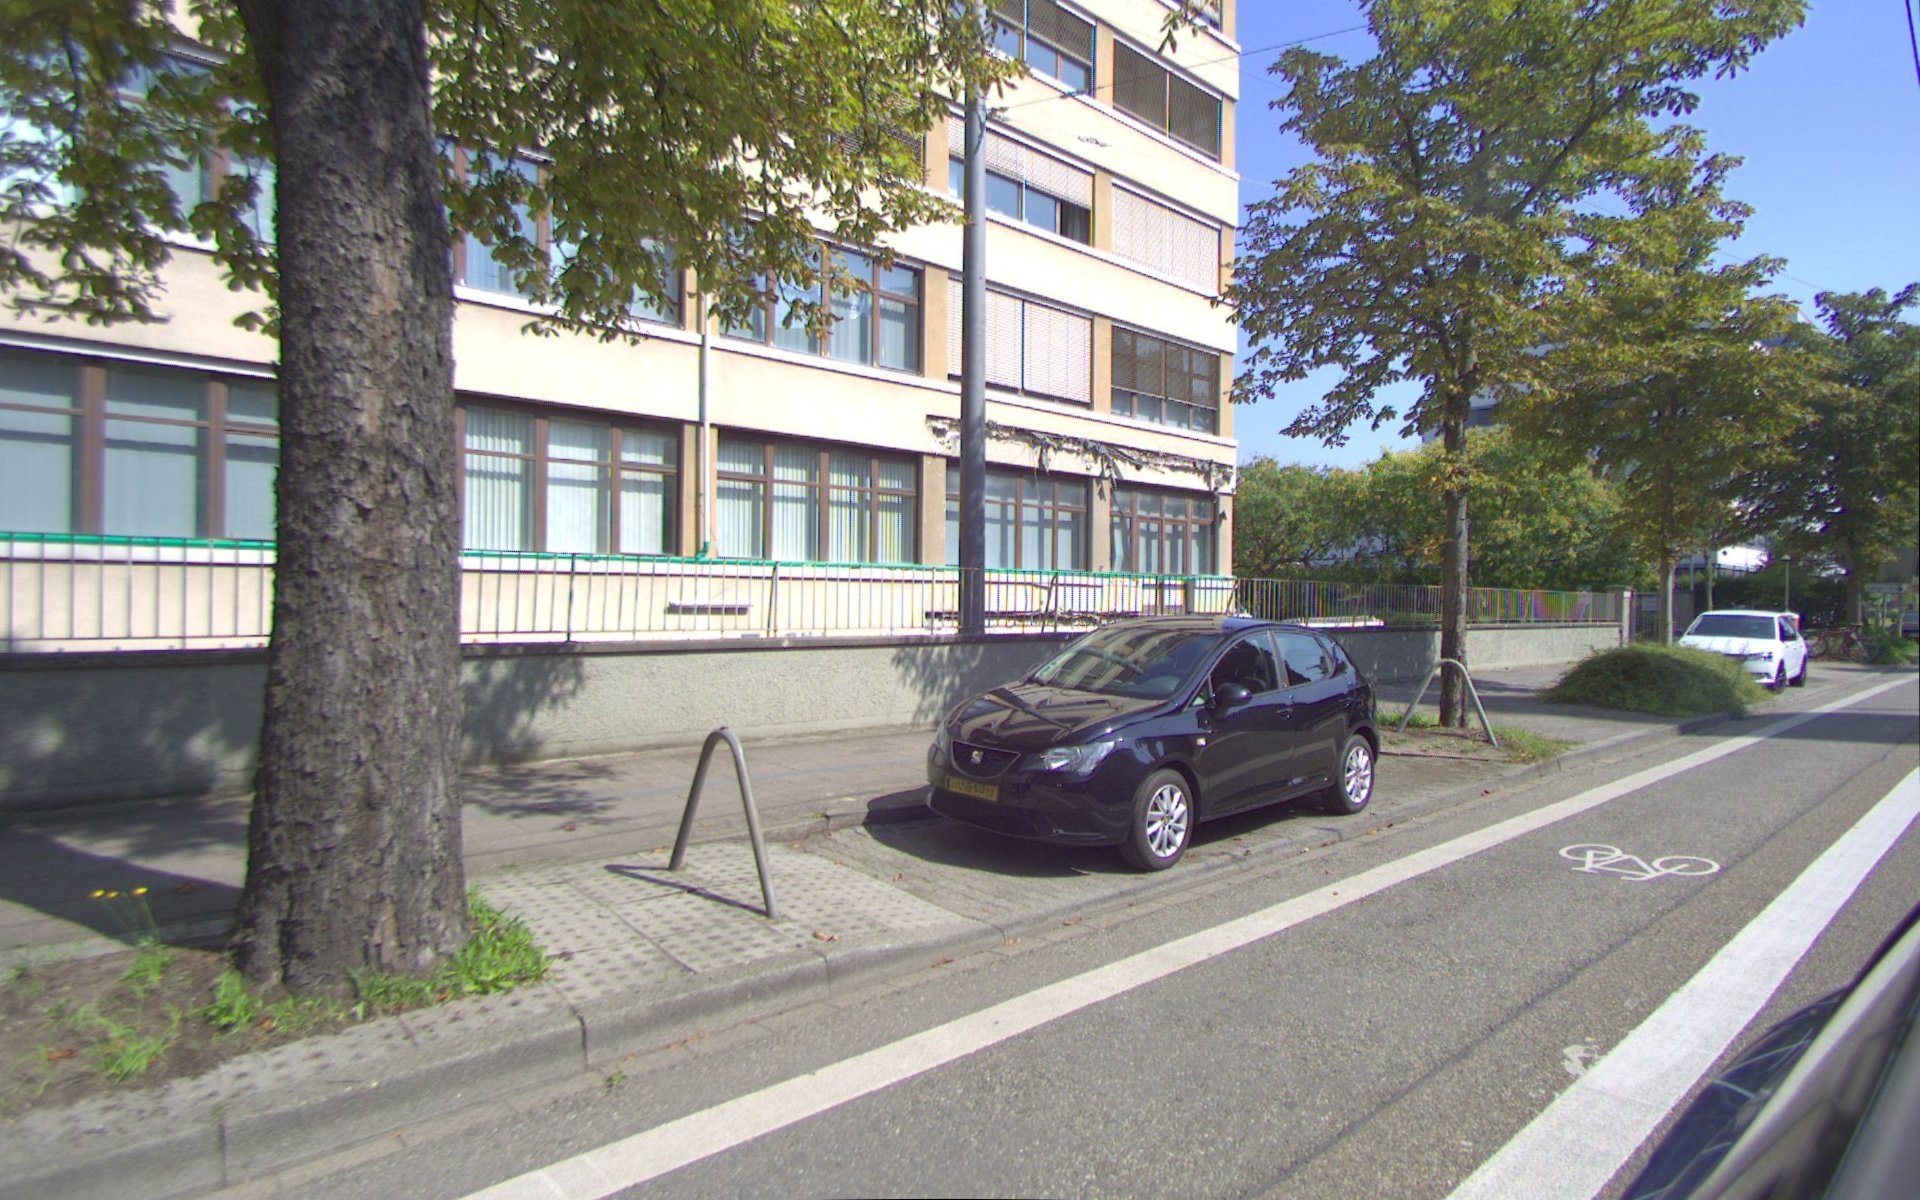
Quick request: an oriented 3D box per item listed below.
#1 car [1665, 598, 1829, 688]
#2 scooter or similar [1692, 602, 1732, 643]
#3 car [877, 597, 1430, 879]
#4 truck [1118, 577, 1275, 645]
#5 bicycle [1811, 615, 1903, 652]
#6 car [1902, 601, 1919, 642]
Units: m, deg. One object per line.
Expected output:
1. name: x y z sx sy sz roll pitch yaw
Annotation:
1. car: 15.037 0.735 19.262 4.143 1.500 1.662 0 1 -41
2. scooter or similar: 23.738 0.694 31.932 1.785 1.275 0.557 0 -1 -39
3. car: 1.574 0.708 7.216 4.143 1.425 1.662 0 1 -41
4. truck: 8.749 0.391 37.922 2.257 2.355 5.519 1 0 -39
5. bicycle: 24.424 0.895 27.571 0.548 0.970 1.815 1 -1 -40
6. car: 37.930 0.827 39.172 4.530 1.534 1.758 0 1 -42
